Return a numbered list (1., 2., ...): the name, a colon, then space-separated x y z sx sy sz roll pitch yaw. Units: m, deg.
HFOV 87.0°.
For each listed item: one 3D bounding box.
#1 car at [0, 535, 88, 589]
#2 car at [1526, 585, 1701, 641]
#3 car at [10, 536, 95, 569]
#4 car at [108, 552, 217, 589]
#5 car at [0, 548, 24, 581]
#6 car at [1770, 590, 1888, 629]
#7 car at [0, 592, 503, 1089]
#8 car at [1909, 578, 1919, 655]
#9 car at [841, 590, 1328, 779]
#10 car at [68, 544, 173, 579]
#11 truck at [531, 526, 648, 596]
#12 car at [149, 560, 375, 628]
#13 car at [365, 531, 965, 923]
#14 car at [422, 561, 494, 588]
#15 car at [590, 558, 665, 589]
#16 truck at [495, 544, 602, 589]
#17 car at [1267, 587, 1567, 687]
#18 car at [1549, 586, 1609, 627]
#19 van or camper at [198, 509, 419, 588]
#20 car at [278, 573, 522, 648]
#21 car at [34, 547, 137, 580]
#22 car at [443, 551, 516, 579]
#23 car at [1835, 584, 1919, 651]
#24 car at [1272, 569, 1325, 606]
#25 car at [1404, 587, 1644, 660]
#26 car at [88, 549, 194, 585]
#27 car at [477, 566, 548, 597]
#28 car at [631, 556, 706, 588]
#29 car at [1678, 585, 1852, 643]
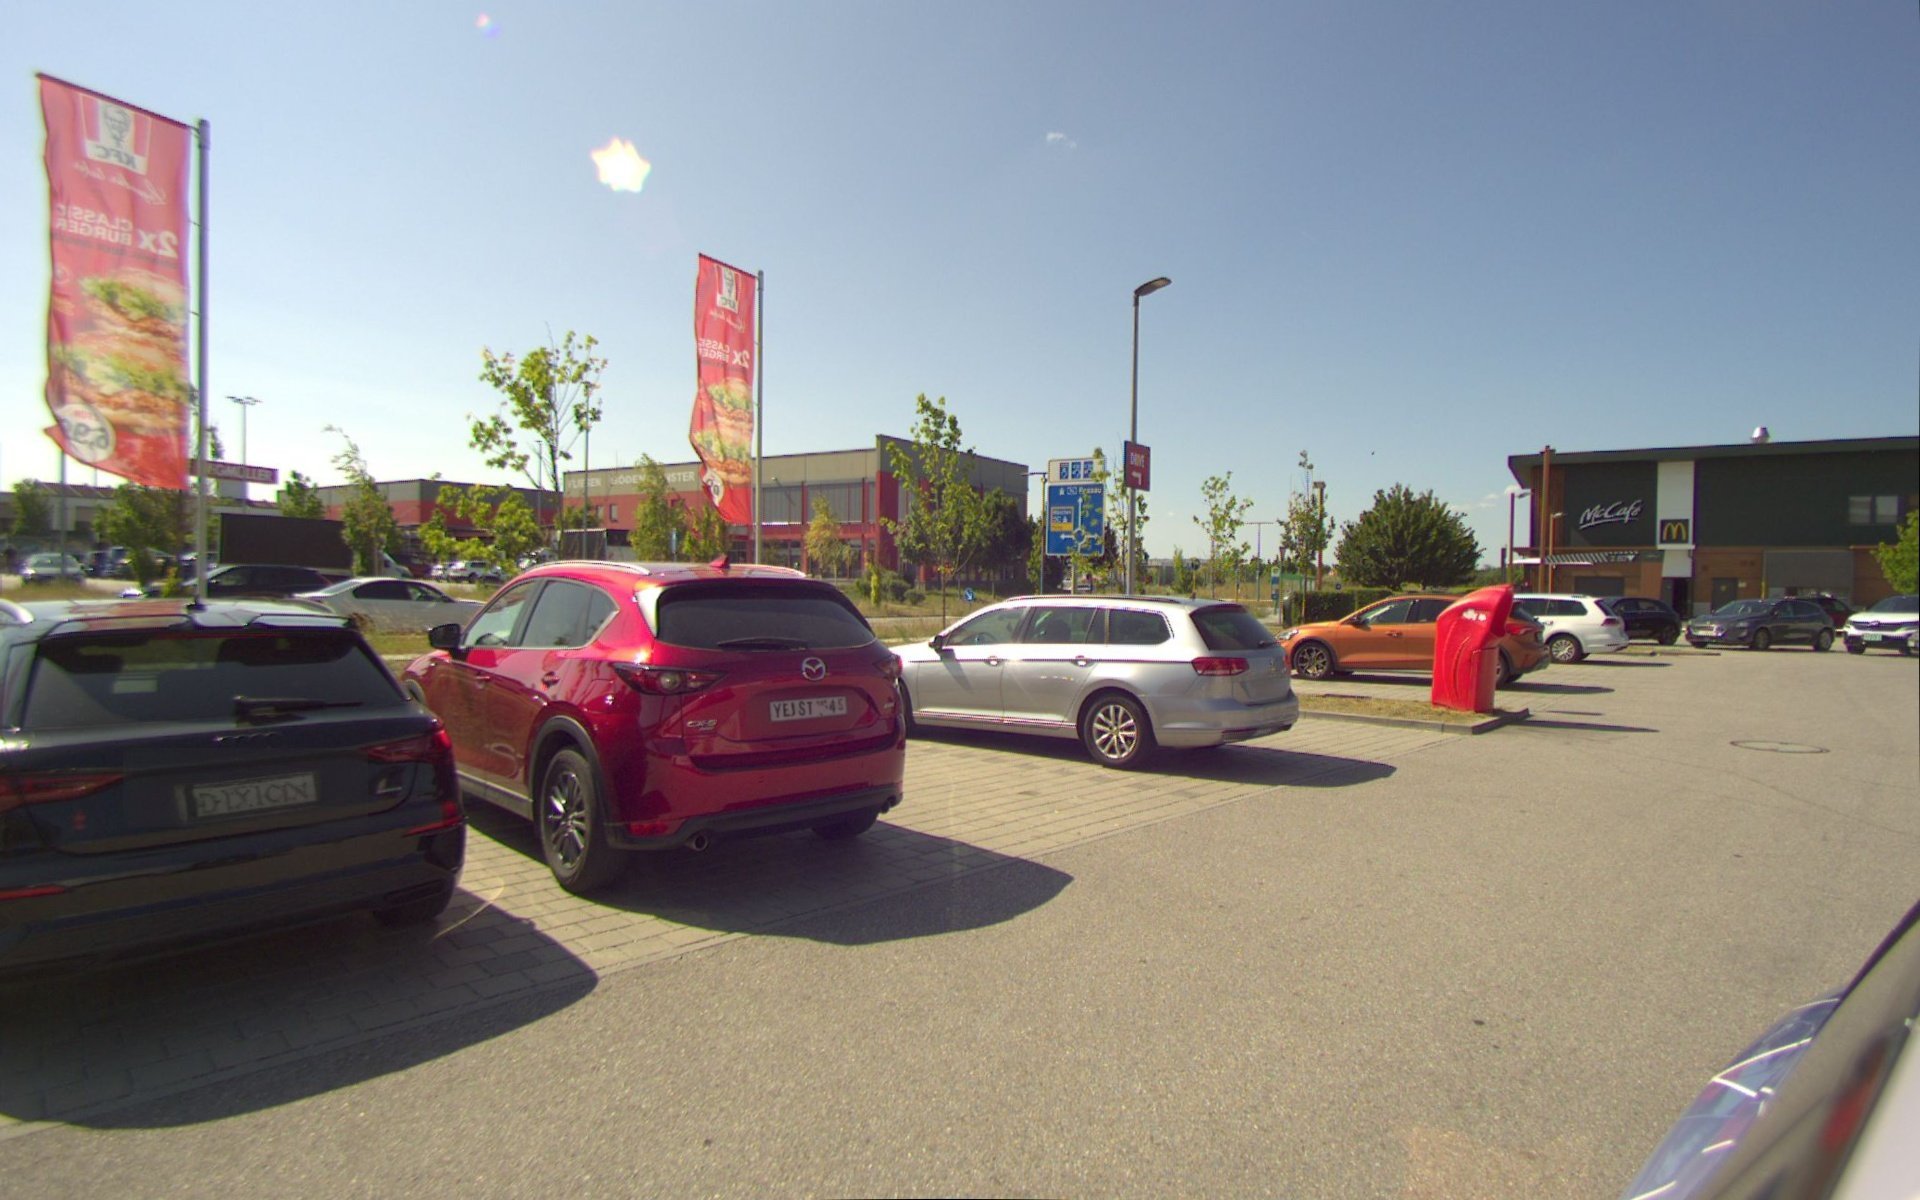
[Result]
1. car: -34.529 -1.396 38.197 1.918 1.879 4.406 1 0 -34
2. car: 19.552 0.377 30.334 4.242 1.545 1.980 1 1 -13
3. car: -61.696 -3.198 68.838 1.987 2.039 3.950 1 0 35
4. car: -44.161 -1.615 56.138 1.941 1.879 4.354 1 0 32
5. car: -57.253 -2.087 58.438 1.941 1.879 4.354 1 0 32
6. car: 38.520 0.427 44.866 4.373 1.623 1.967 1 0 -18
7. car: -3.920 0.681 4.774 4.191 1.428 1.746 0 0 43
8. car: 24.135 0.416 22.112 4.647 1.770 1.812 1 1 32
9. car: 0.997 0.621 9.846 4.583 1.431 1.714 0 0 42
10. car: -49.084 -2.222 59.241 1.941 1.879 4.354 1 0 32
11. truck: -20.028 -2.050 54.597 6.796 3.524 2.730 1 0 38
12. car: -18.480 -0.145 26.932 4.723 1.645 1.996 1 0 -42
13. car: -2.129 0.520 6.477 1.919 1.658 4.219 0 0 -45
14. car: -37.121 -1.865 74.861 2.033 1.879 4.354 1 0 32
15. car: -21.266 -1.683 64.910 1.941 1.879 4.354 1 0 32
16. truck: -27.951 -2.213 69.020 1.941 2.850 6.978 1 0 32
17. car: 7.630 0.539 17.112 4.331 1.488 1.807 0 0 39
18. car: 27.868 0.247 45.665 1.978 1.712 4.195 2 1 27
19. van or camper: -28.575 -2.199 44.850 7.888 3.141 2.424 1 0 -24
20. car: -12.858 0.217 23.433 1.994 1.546 4.581 1 1 45
21. car: -53.416 -2.199 61.889 1.941 1.879 4.354 1 0 32
22. car: -34.531 -2.482 72.830 1.941 1.879 4.354 1 0 32
23. car: 25.563 0.460 26.772 4.119 1.675 1.979 1 0 -22
24. car: 21.452 -0.782 63.924 1.986 2.224 5.046 1 0 33
25. car: 12.548 0.463 22.661 4.459 1.488 1.807 0 0 39
26. car: -46.655 -1.863 57.735 1.941 1.879 4.354 1 0 32
27. car: -22.822 -0.961 51.601 3.944 1.478 1.633 2 0 38
28. car: -18.404 -1.731 64.061 1.941 1.879 4.354 1 0 32
29. car: 22.658 0.391 28.506 4.118 1.545 1.979 1 0 -21
